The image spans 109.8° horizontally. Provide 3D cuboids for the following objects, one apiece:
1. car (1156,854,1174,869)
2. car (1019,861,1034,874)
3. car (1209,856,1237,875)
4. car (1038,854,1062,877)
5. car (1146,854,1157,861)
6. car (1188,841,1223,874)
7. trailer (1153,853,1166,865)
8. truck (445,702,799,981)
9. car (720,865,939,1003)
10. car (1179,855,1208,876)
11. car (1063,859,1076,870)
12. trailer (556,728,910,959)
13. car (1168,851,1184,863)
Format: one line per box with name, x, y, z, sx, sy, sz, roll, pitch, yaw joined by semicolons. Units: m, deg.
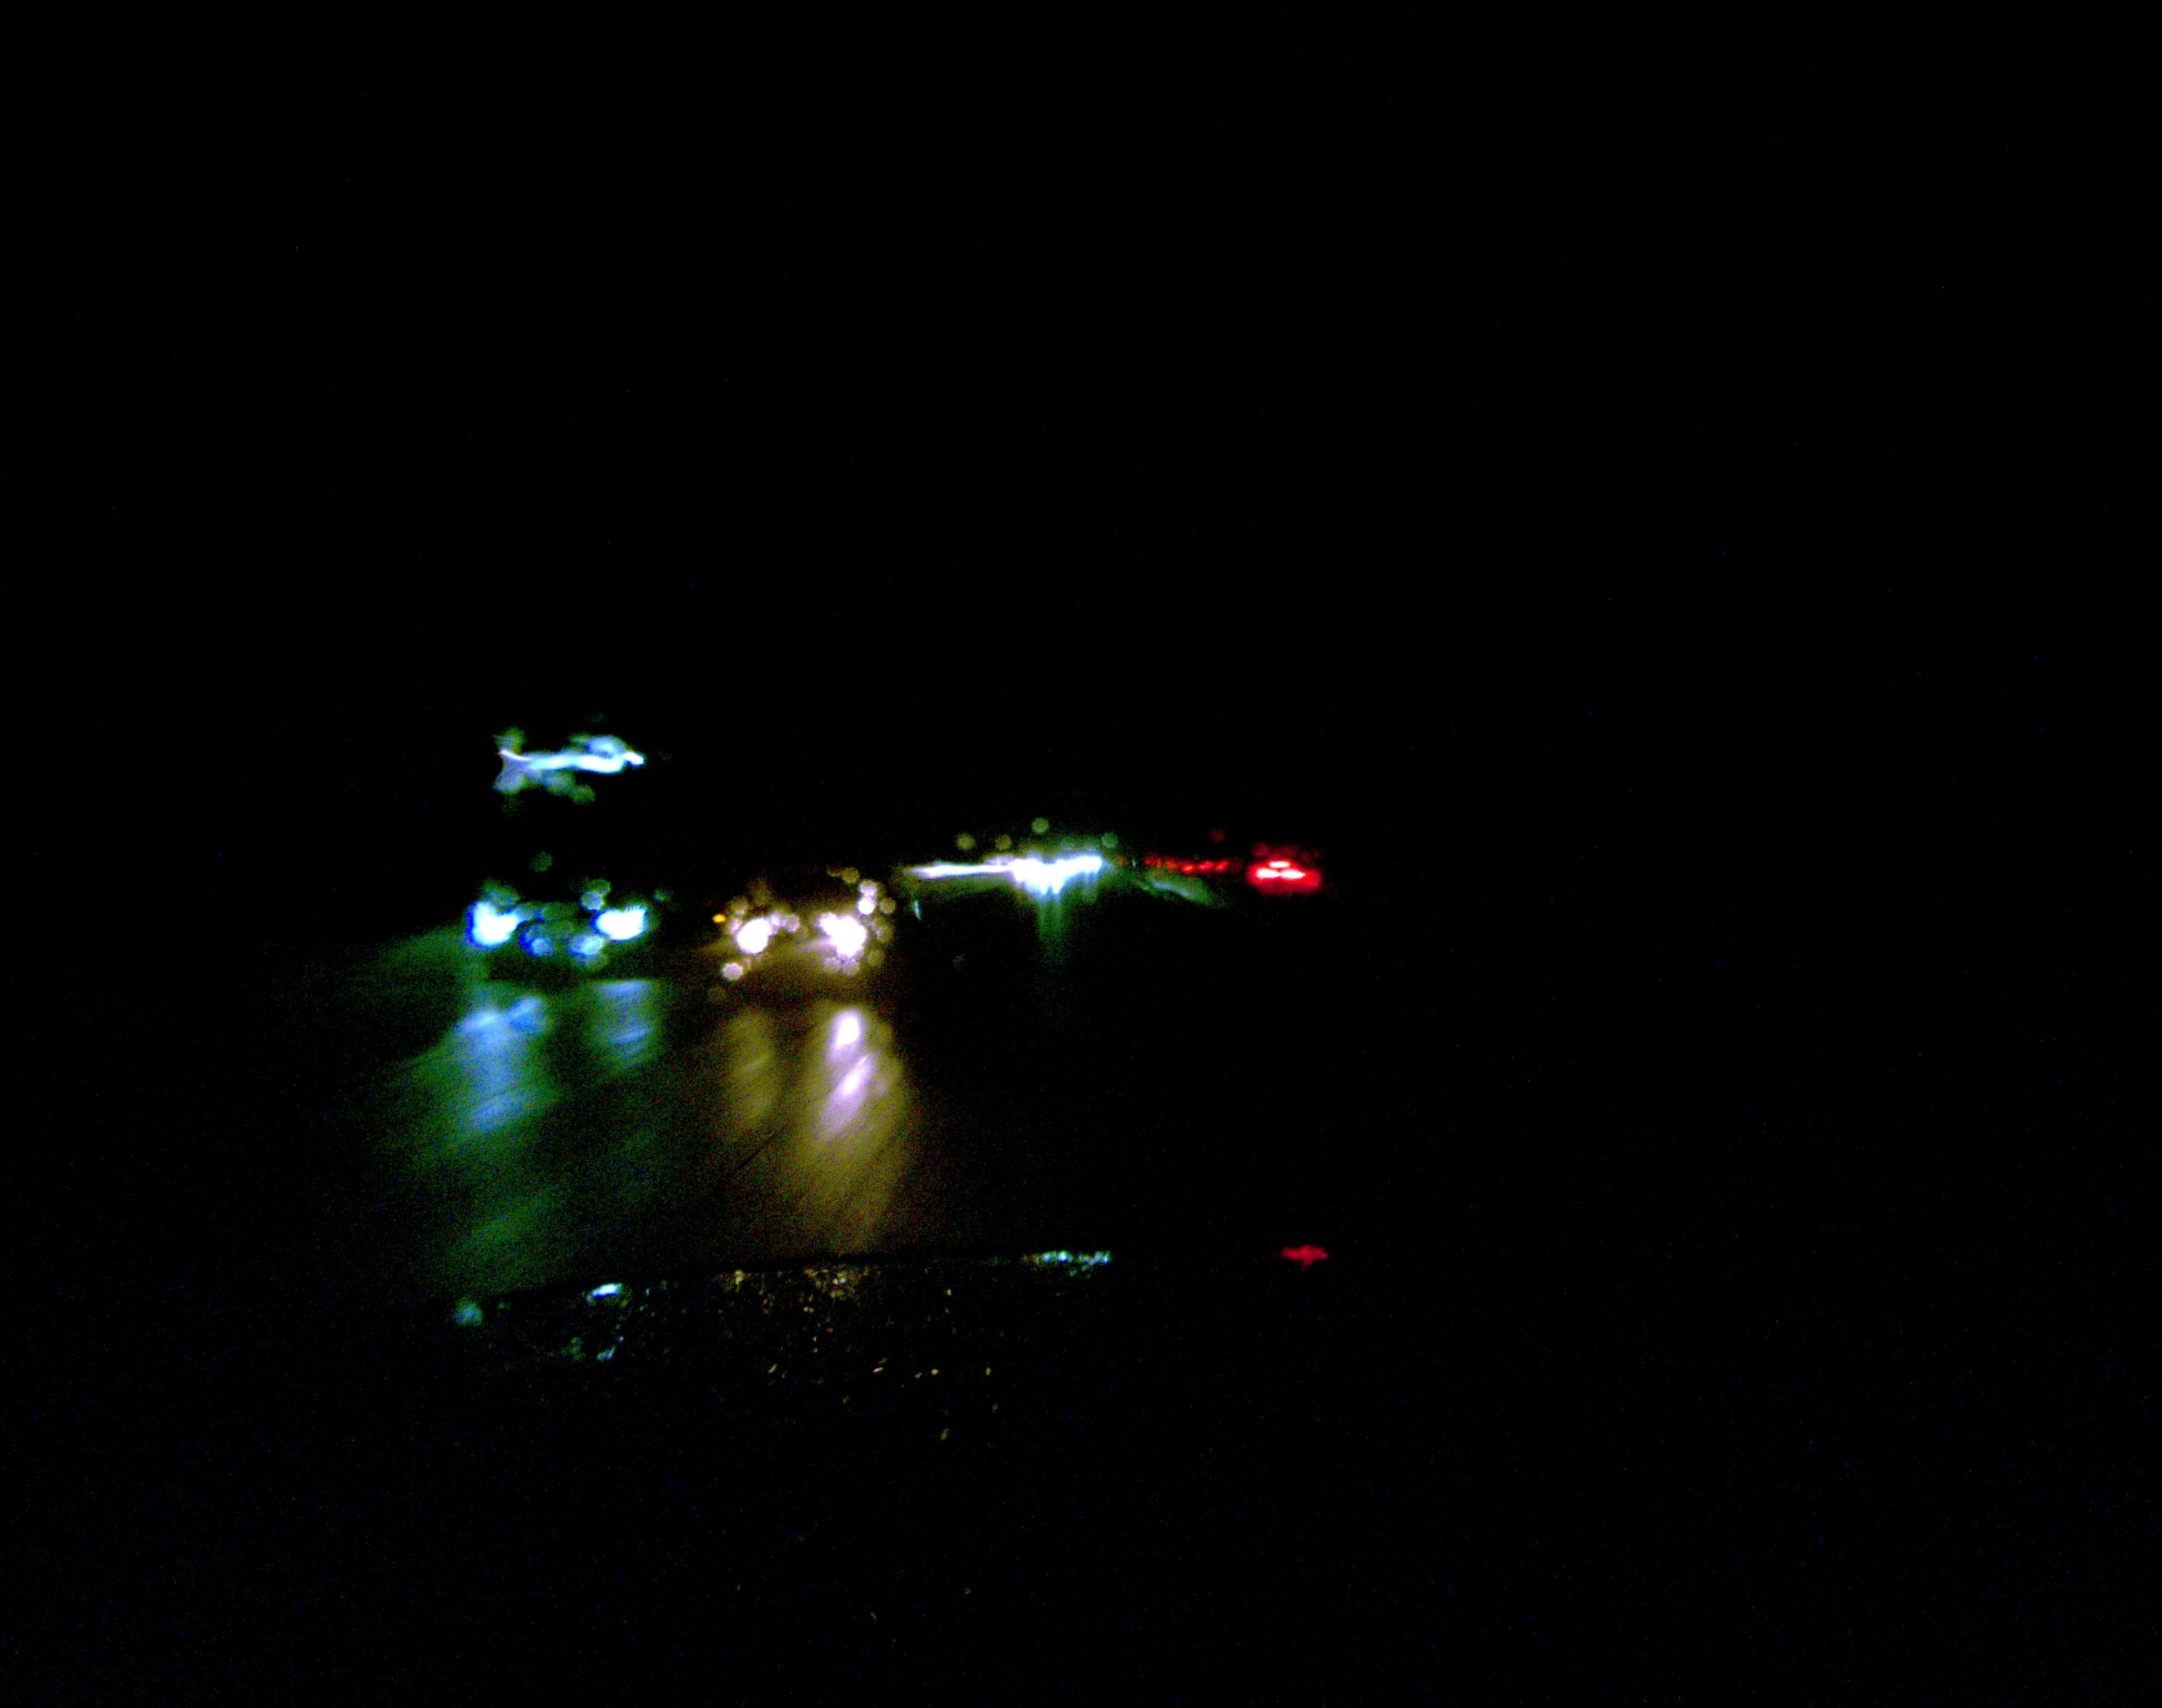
car;10.336;0.938;93.914;1.921;1.674;4.000;1;1;1
car;-6.539;1.574;91.093;1.644;1.494;4.013;-1;-1;-2
car;13.912;1.123;74.698;1.921;1.674;4.506;1;1;1
car;-2.776;1.047;68.485;1.999;2.001;4.000;-2;-1;-2
car;15.385;0.771;165.619;1.998;1.653;4.809;0;0;1
car;19.125;0.647;117.363;3.714;4.700;10.598;-2;-1;1
trailer;25.240;1.614;244.550;2.864;3.877;8.705;-1;0;-1
truck;-7.838;-0.166;14.146;2.910;4.084;6.031;0;0;0
car;-3.473;1.006;11.476;1.745;1.566;4.494;-1;0;0
car;9.484;0.954;64.312;1.921;1.674;4.506;1;1;1
car;-1.904;1.816;125.274;1.883;1.653;4.001;-3;-2;-1
trailer;-7.787;-0.155;20.698;2.910;4.084;14.487;0;0;0
car;14.195;0.470;113.851;1.921;1.674;4.000;1;1;1
